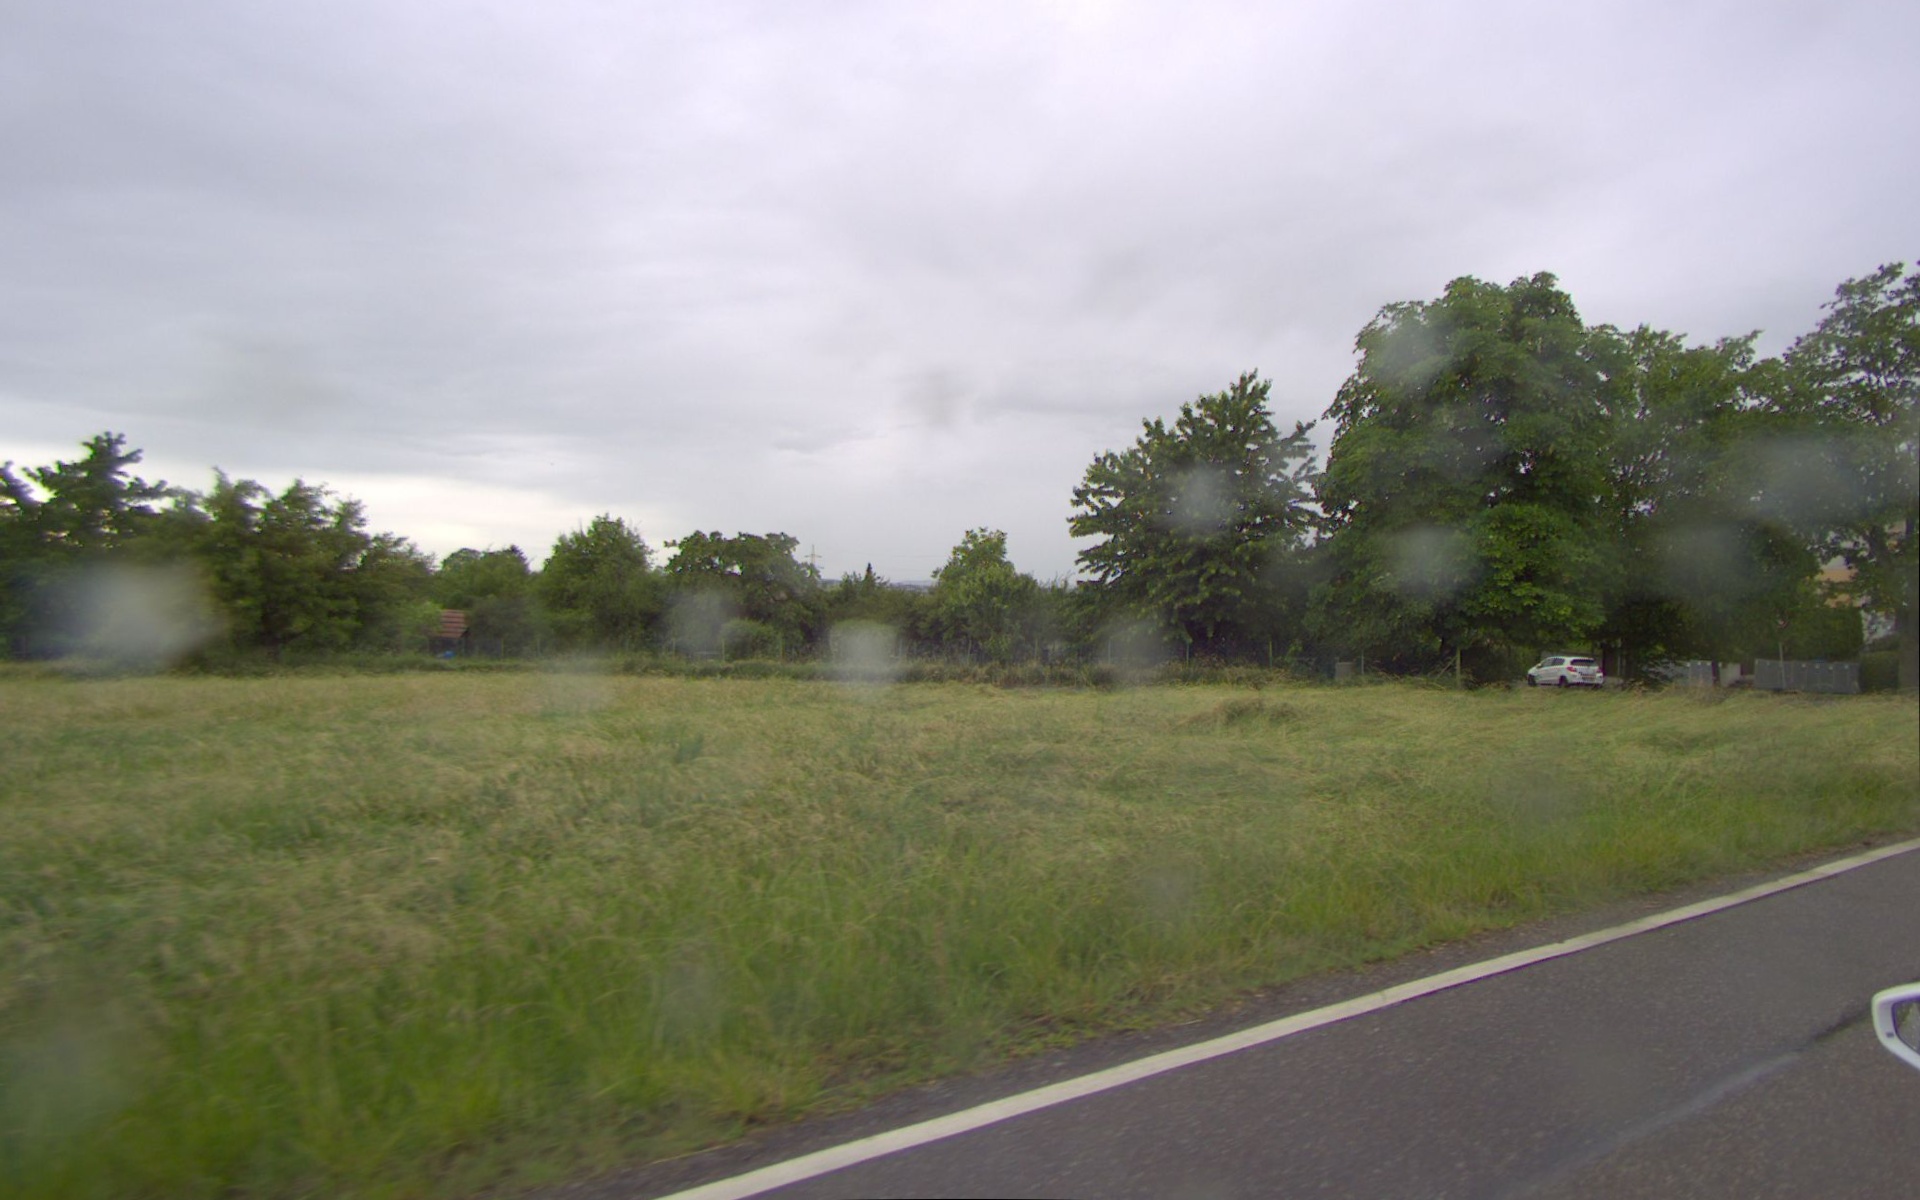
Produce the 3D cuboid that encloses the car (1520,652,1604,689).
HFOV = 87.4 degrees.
[{"bbox_3d":[27.620,3.215,46.186,1.579,1.522,3.727,2,-3,-1],"label":"car"}]
